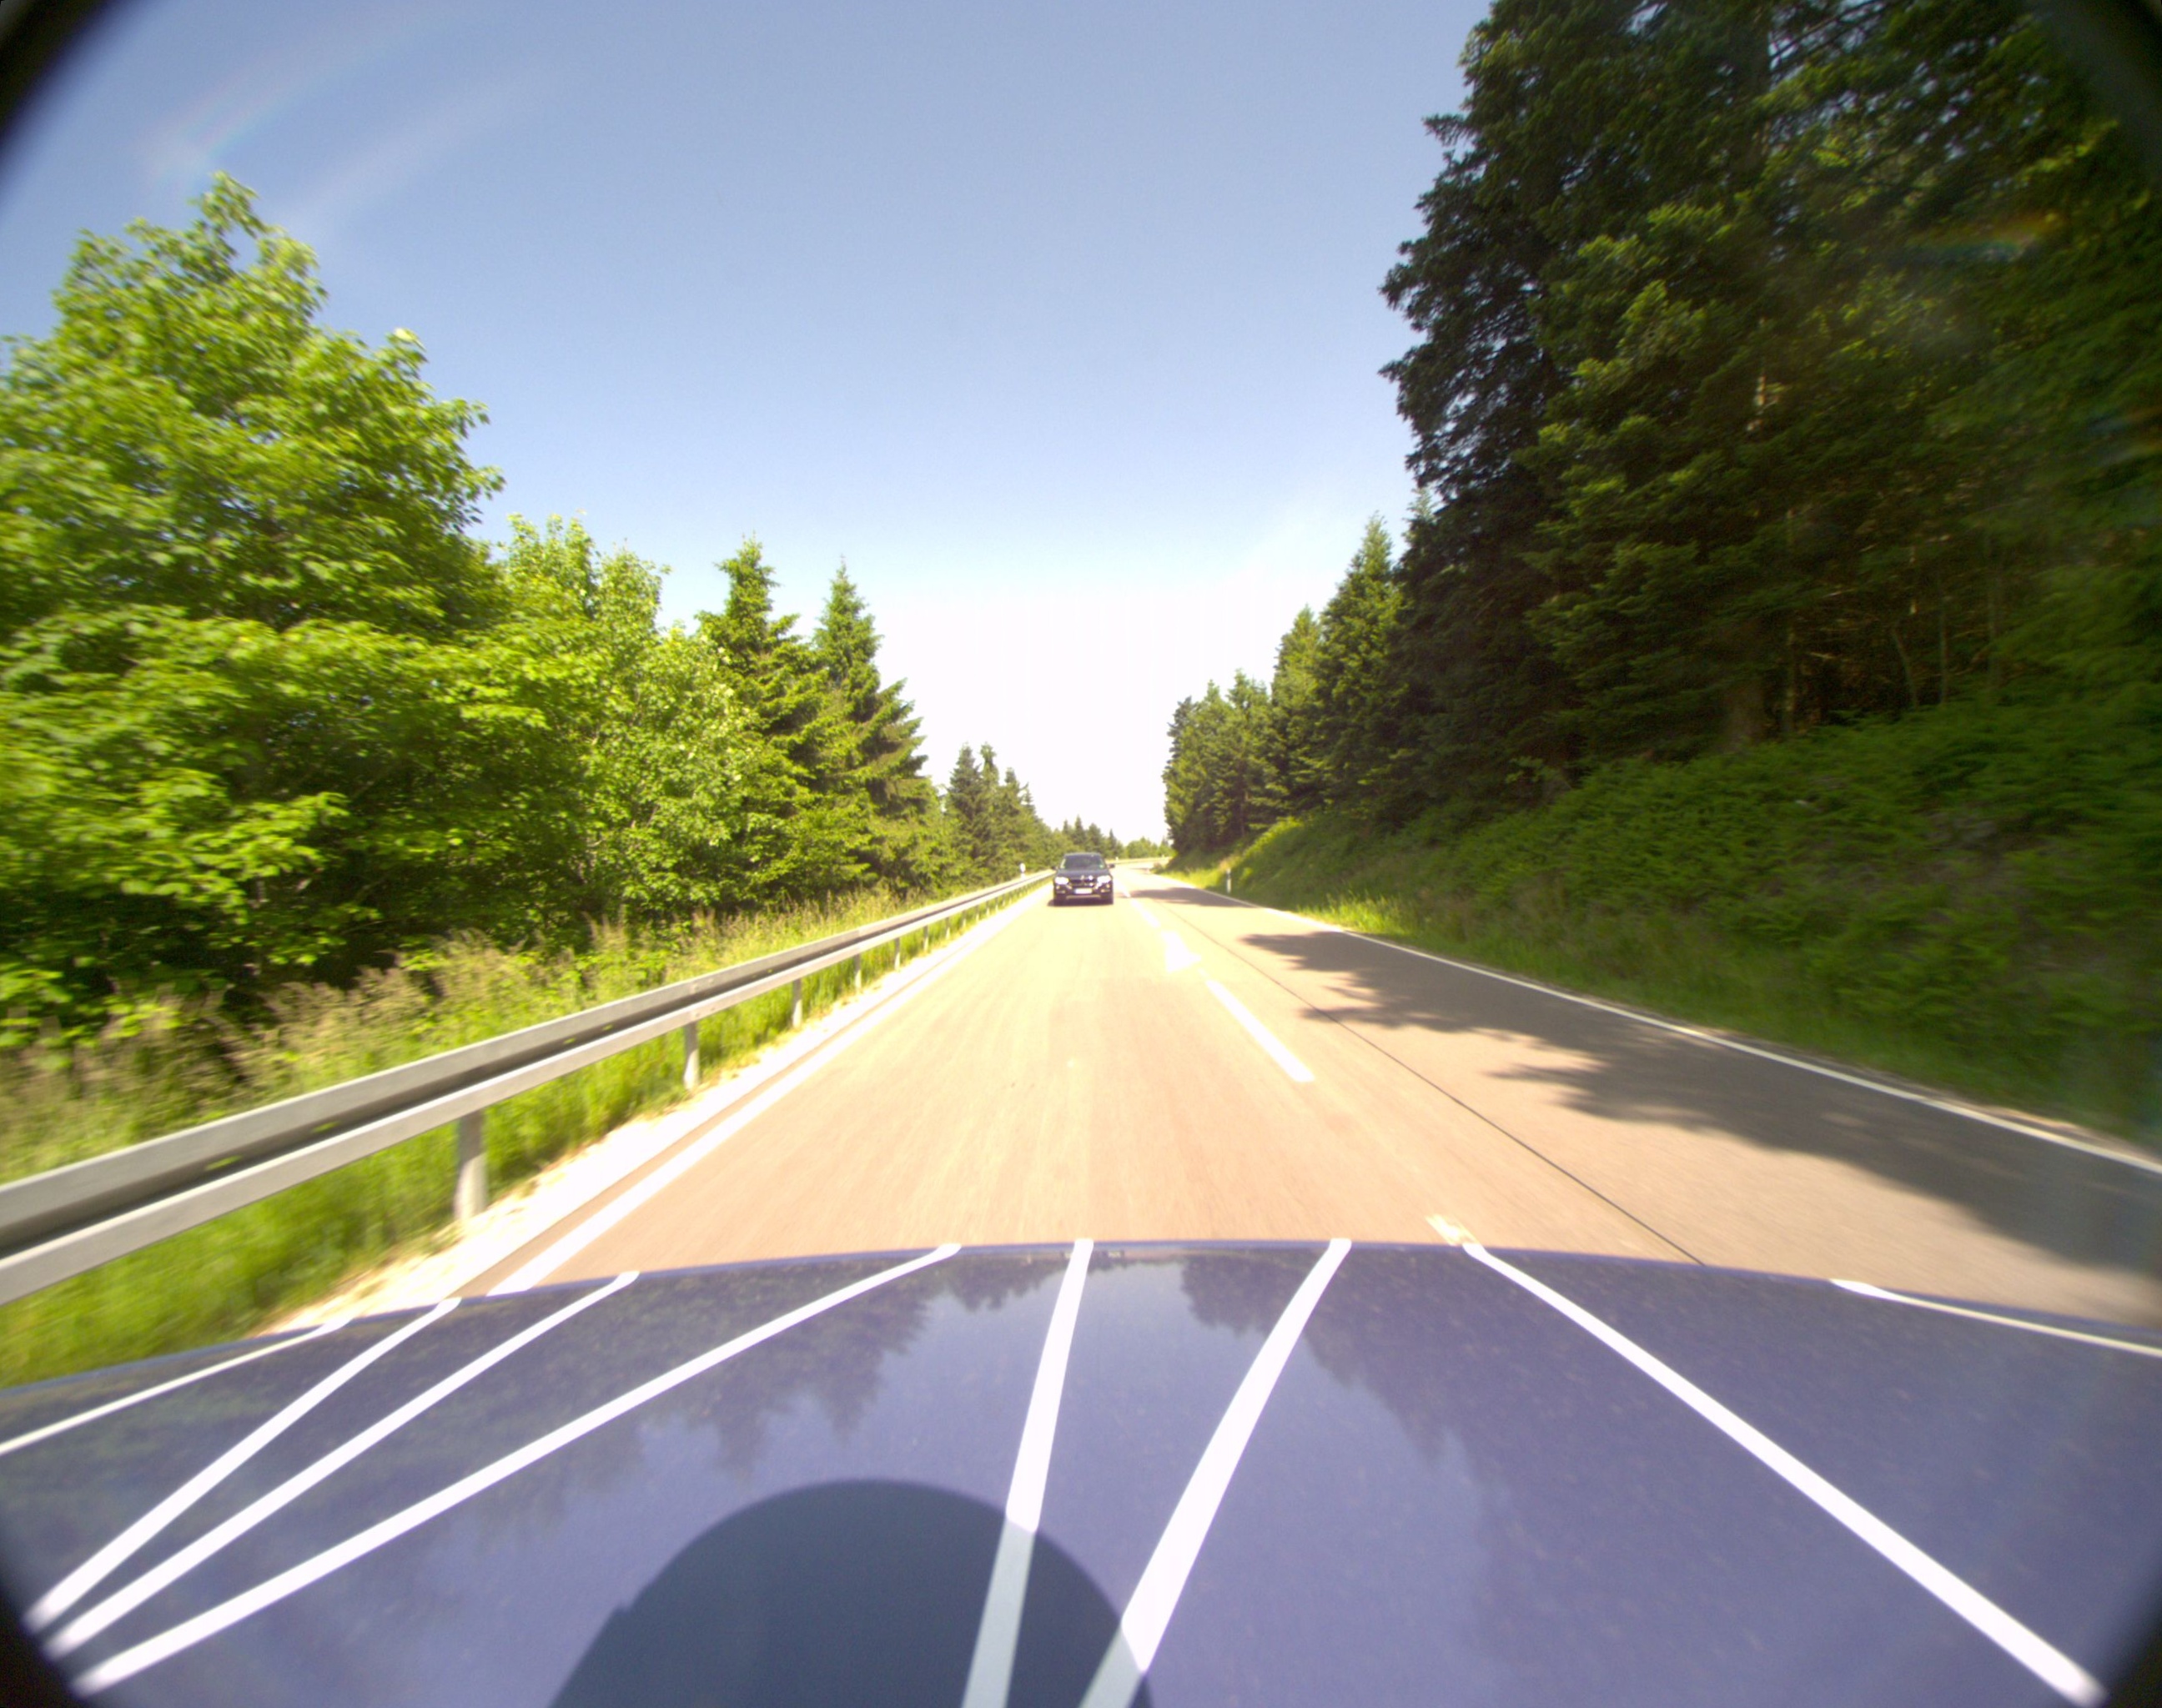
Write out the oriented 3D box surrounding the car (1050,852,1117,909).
[{"bbox_3d":[0.072,0.829,26.688,1.999,1.676,5.936,-3,0,0],"label":"car"}]
